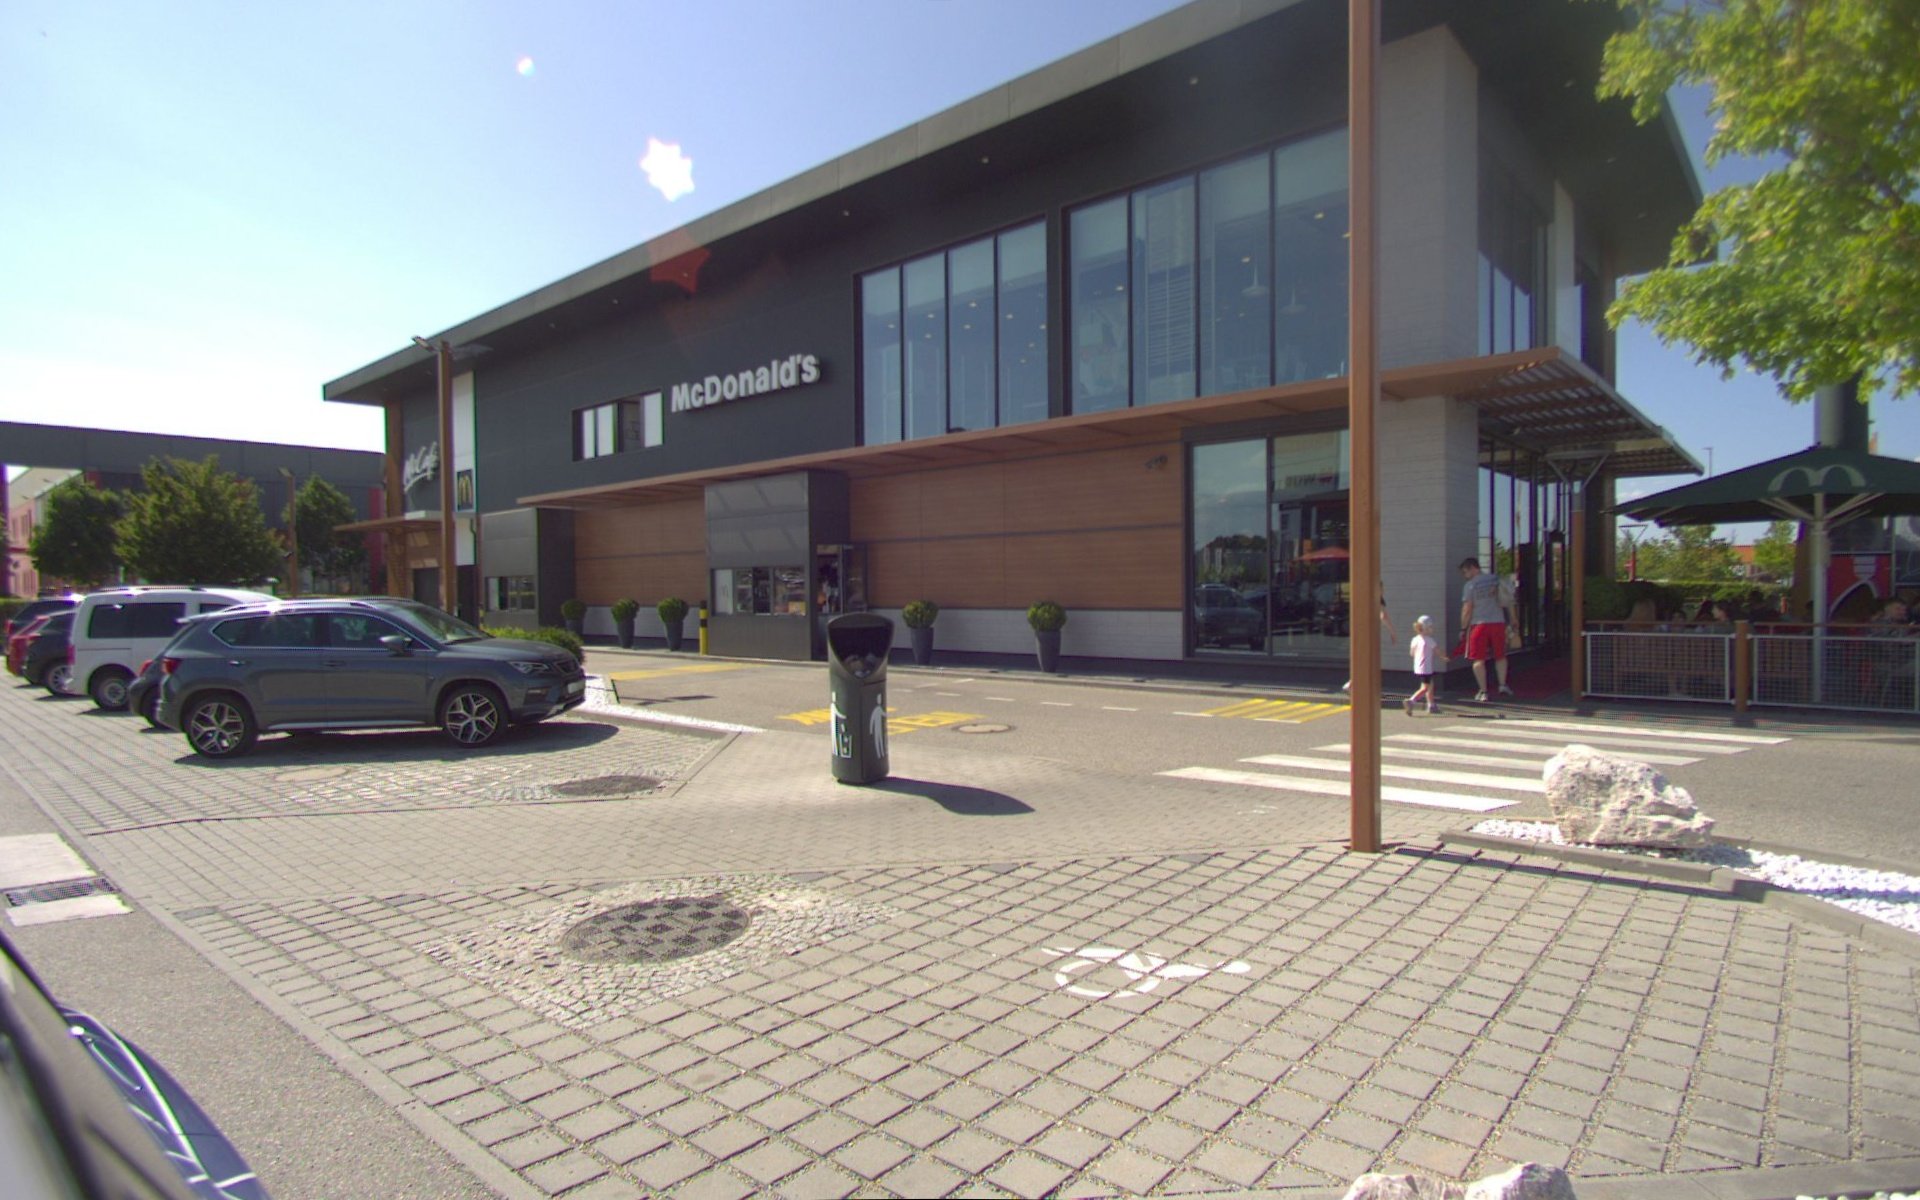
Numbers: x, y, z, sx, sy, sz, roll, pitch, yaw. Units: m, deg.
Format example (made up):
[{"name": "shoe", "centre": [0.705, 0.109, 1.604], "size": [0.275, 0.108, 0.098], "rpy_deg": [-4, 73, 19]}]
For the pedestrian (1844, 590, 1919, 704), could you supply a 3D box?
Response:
[{"name": "pedestrian", "centre": [10.608, 0.526, 11.624], "size": [0.633, 1.267, 0.517], "rpy_deg": [-1, 0, 37]}]

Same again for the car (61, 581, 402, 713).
[{"name": "car", "centre": [-11.488, 0.694, 16.233], "size": [4.078, 1.936, 1.762], "rpy_deg": [-1, 0, -9]}]

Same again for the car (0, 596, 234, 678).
[{"name": "car", "centre": [-19.420, 0.794, 23.435], "size": [3.969, 1.718, 1.680], "rpy_deg": [-1, 1, -26]}]

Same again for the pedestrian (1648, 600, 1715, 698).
[{"name": "pedestrian", "centre": [8.670, 0.577, 12.166], "size": [0.633, 1.132, 0.517], "rpy_deg": [-1, 0, 37]}]

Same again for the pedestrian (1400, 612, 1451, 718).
[{"name": "pedestrian", "centre": [5.449, 0.747, 11.849], "size": [0.447, 1.195, 0.485], "rpy_deg": [-1, 0, 35]}]

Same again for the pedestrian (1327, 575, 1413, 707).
[{"name": "pedestrian", "centre": [5.175, 0.500, 12.781], "size": [0.717, 1.596, 0.743], "rpy_deg": [-1, 0, -39]}]

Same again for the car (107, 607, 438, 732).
[{"name": "car", "centre": [-9.140, 0.879, 13.716], "size": [3.359, 1.493, 1.572], "rpy_deg": [-1, 0, -10]}]

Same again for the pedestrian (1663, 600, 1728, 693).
[{"name": "pedestrian", "centre": [9.227, 0.566, 12.697], "size": [0.633, 1.132, 0.517], "rpy_deg": [-1, 0, 37]}]

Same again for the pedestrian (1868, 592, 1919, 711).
[{"name": "pedestrian", "centre": [10.347, 0.543, 10.952], "size": [0.714, 1.267, 0.517], "rpy_deg": [-1, 0, 37]}]

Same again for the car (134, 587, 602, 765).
[{"name": "car", "centre": [-6.461, 0.777, 11.459], "size": [4.164, 1.615, 1.793], "rpy_deg": [-3, 2, -4]}]

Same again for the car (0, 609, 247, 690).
[{"name": "car", "centre": [-17.257, 0.970, 20.979], "size": [3.707, 1.455, 1.680], "rpy_deg": [-1, 0, -20]}]

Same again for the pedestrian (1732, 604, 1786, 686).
[{"name": "pedestrian", "centre": [11.172, 0.611, 14.147], "size": [0.573, 1.109, 0.647], "rpy_deg": [-1, 0, 40]}]

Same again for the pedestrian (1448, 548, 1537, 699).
[{"name": "pedestrian", "centre": [6.577, 0.279, 12.486], "size": [0.894, 1.781, 0.794], "rpy_deg": [-1, 0, 33]}]

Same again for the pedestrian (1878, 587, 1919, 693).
[{"name": "pedestrian", "centre": [11.585, 0.473, 12.191], "size": [0.714, 1.267, 0.517], "rpy_deg": [-1, 0, 37]}]

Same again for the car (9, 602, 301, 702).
[{"name": "car", "centre": [-14.520, 0.886, 18.496], "size": [3.779, 1.644, 1.763], "rpy_deg": [-1, 0, -15]}]
